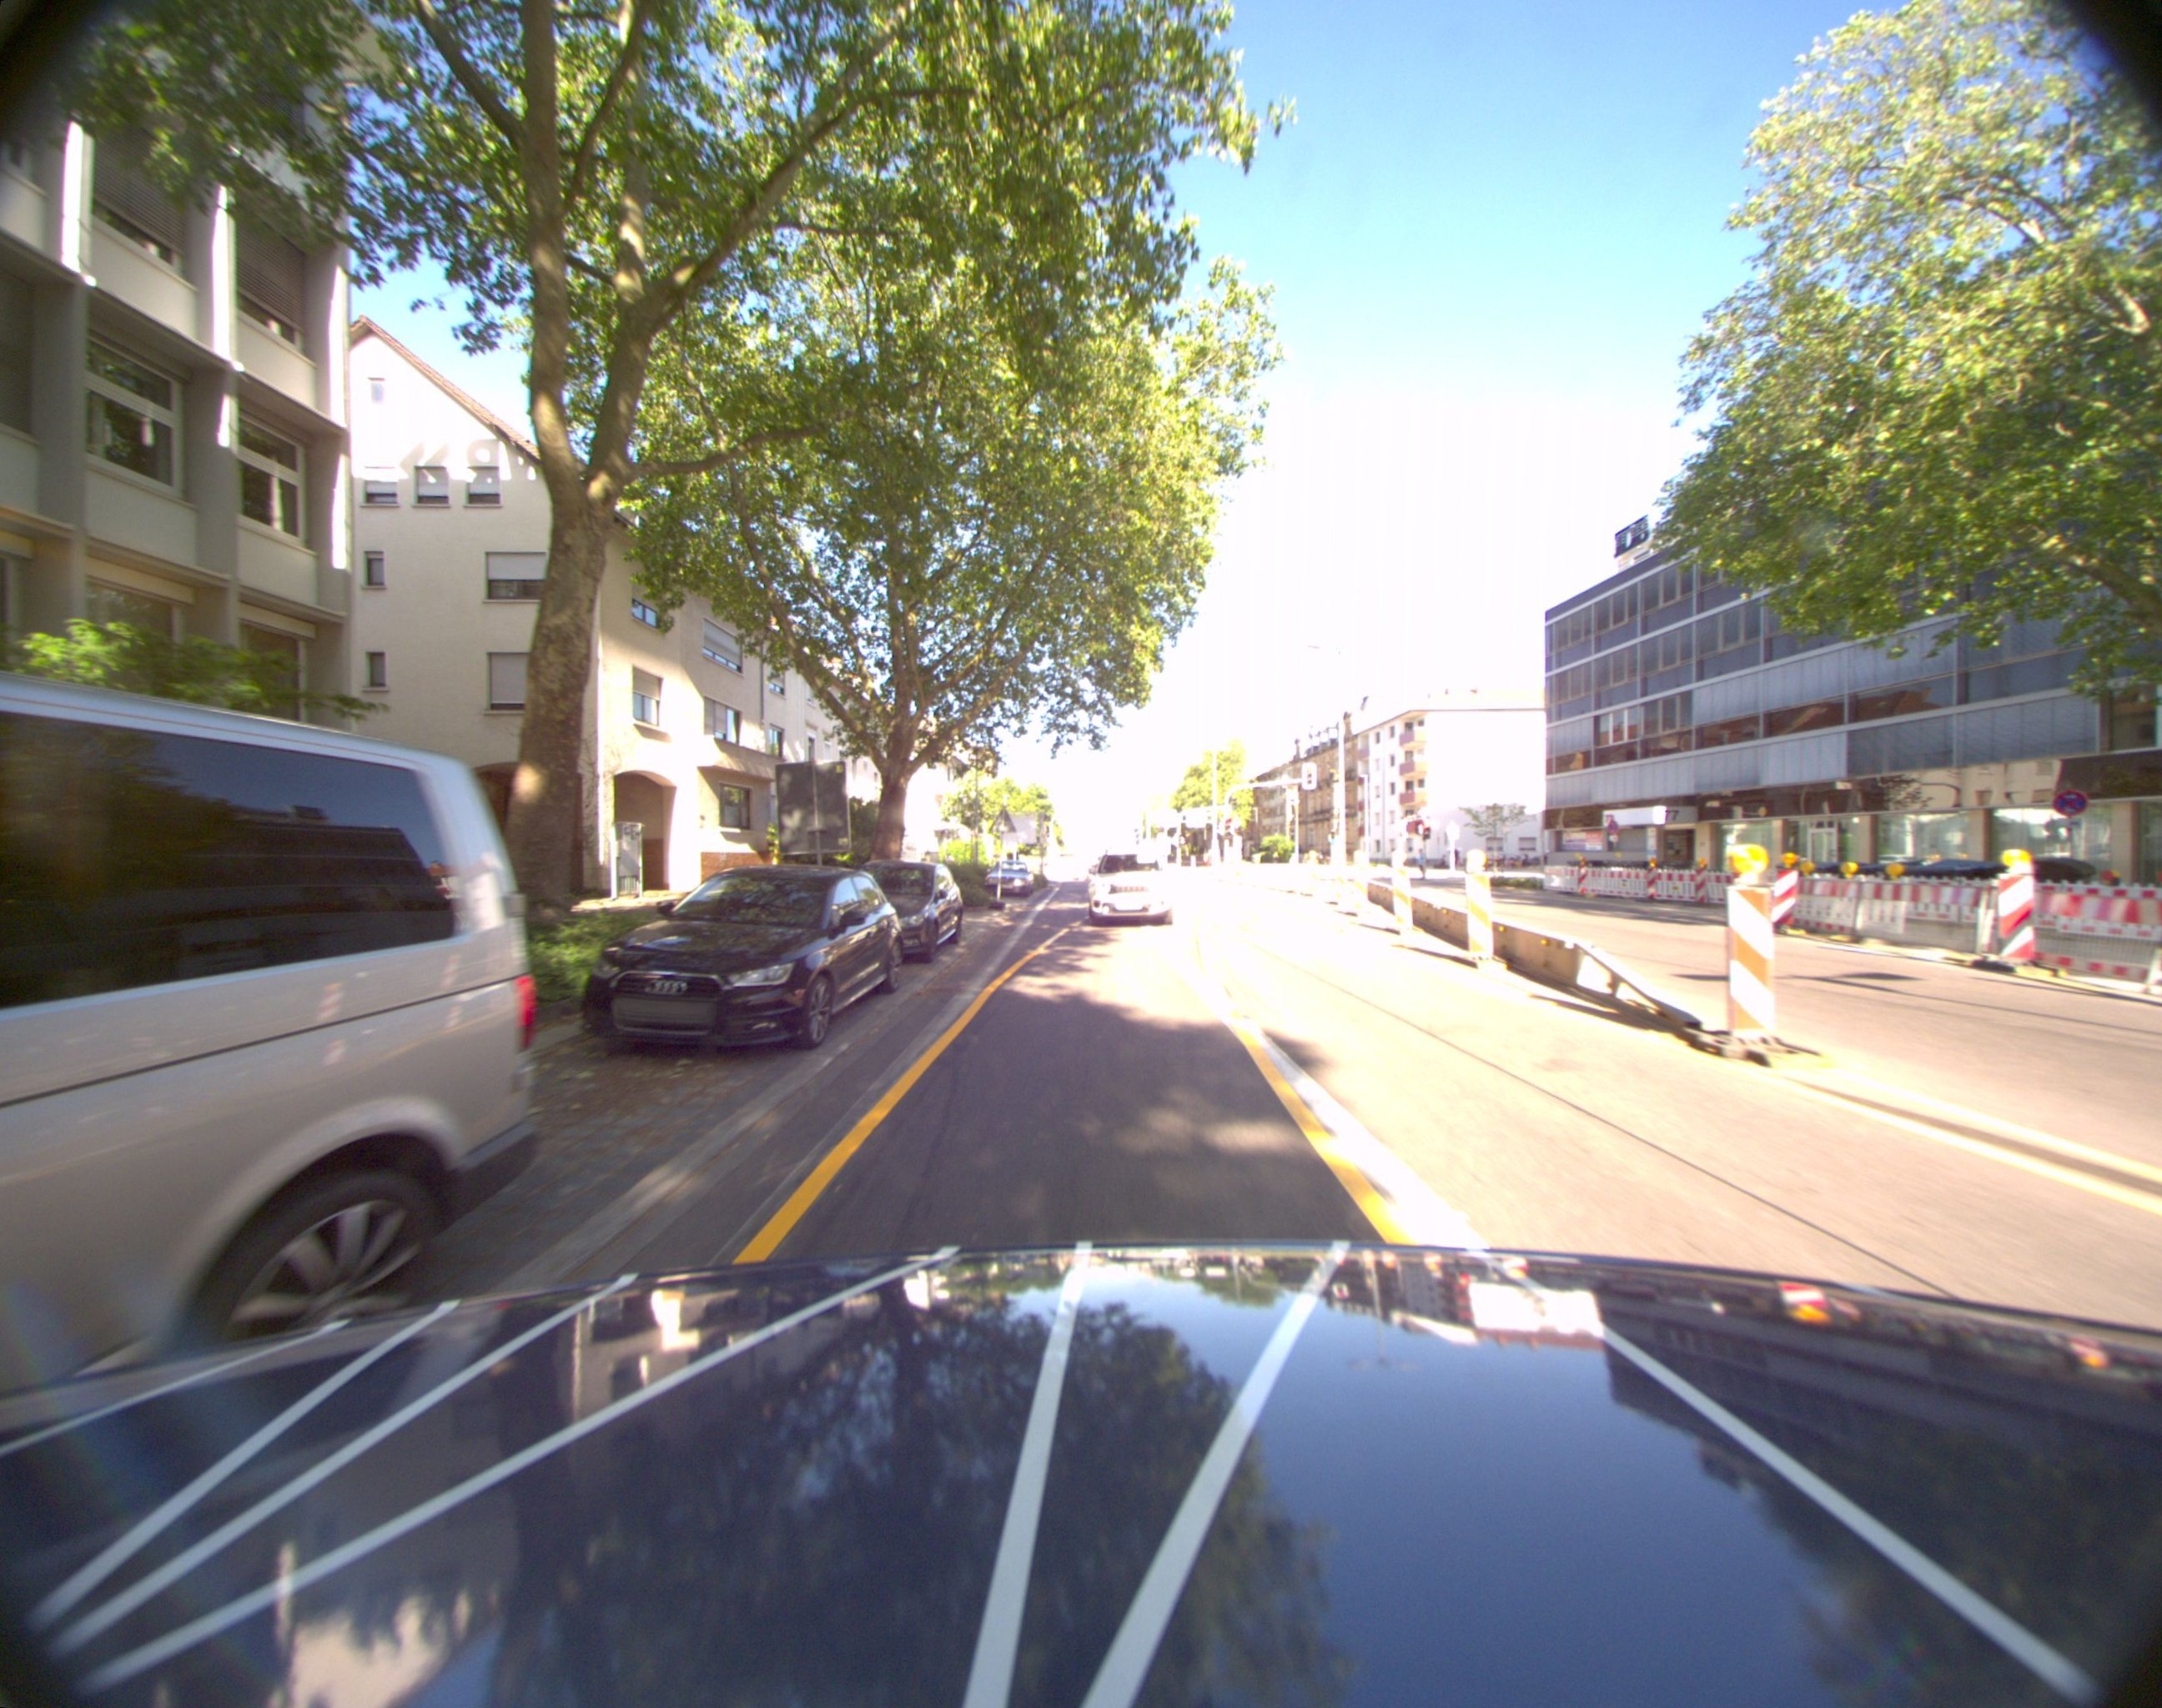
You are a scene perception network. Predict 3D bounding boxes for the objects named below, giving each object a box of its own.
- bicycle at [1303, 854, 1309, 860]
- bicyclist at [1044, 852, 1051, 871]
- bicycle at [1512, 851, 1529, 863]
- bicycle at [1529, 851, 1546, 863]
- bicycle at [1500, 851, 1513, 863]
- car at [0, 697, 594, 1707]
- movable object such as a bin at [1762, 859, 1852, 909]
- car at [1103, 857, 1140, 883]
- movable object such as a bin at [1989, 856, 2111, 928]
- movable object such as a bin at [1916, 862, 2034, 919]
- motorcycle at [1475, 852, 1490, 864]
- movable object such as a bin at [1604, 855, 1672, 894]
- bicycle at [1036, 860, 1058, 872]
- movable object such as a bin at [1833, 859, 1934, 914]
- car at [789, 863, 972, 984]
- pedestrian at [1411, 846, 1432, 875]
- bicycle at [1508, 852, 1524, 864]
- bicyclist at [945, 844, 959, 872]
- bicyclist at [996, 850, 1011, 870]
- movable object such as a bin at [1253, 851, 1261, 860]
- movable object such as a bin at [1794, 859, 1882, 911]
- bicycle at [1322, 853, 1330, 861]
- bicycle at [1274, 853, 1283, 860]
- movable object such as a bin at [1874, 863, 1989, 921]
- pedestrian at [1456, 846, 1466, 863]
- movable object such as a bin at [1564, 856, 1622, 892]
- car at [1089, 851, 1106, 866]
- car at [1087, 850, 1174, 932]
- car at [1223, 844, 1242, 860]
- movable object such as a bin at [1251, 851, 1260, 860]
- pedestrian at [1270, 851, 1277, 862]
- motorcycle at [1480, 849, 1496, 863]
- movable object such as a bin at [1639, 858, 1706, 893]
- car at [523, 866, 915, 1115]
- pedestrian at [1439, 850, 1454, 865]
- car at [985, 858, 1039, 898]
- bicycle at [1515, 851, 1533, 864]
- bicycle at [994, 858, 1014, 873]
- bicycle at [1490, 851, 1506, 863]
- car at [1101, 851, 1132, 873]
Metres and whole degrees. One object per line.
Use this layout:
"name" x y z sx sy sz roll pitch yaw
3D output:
"bicycle" 26.969 0.331 91.023 0.299 0.766 1.414 -1 0 1
"bicyclist" -3.017 0.709 68.306 0.605 1.698 0.858 -1 0 0
"bicycle" 37.380 0.245 64.687 0.575 1.052 1.691 -1 0 5
"bicycle" 37.192 0.255 61.920 0.509 0.997 1.737 -1 0 5
"bicycle" 34.631 0.251 61.884 0.507 0.972 1.887 -1 0 17
"car" -3.017 0.694 0.462 2.031 1.935 5.272 -1 0 0
"movable object such as a bin" 20.394 0.818 21.382 1.413 1.330 1.157 -1 1 2
"car" 2.393 0.910 46.195 1.998 1.426 4.873 -1 1 0
"movable object such as a bin" 20.563 0.759 16.136 1.637 1.414 1.260 -1 1 -25
"movable object such as a bin" 21.071 0.835 17.955 0.982 1.263 1.540 -1 0 0
"motorcycle" 32.987 0.321 62.421 0.504 0.931 1.843 -1 0 7
"movable object such as a bin" 20.767 0.752 28.388 1.217 1.380 1.855 -1 0 2
"bicycle" -3.066 1.059 68.363 1.967 1.019 0.605 -2 0 0
"movable object such as a bin" 20.310 0.800 19.262 1.413 1.330 1.069 -1 1 2
"car" -2.950 0.944 12.145 1.768 1.499 4.250 -1 0 0
"pedestrian" 20.192 0.397 45.120 0.866 1.701 1.013 -1 0 7
"bicycle" 35.195 0.301 61.477 0.478 0.942 1.953 -1 0 9
"bicyclist" -8.738 0.265 51.425 0.725 1.810 1.070 -1 1 1
"bicyclist" -5.892 0.485 57.599 0.724 1.490 0.873 1 -1 30
"movable object such as a bin" 26.190 0.222 112.952 0.895 1.352 1.474 1 -1 1
"movable object such as a bin" 20.199 0.814 20.296 1.413 1.330 0.936 -1 1 2
"bicycle" 26.933 0.329 83.619 0.305 0.952 1.940 -1 0 1
"bicycle" 26.801 0.359 103.209 0.468 0.999 2.250 -2 0 -2
"movable object such as a bin" 20.052 0.872 17.961 0.982 1.263 1.540 -1 0 0
"pedestrian" 33.125 0.037 66.219 0.601 1.488 0.694 -1 1 3
"movable object such as a bin" 20.678 0.777 30.725 1.117 1.380 1.855 -1 0 2
"car" 2.136 0.553 97.794 1.999 1.761 4.000 -2 0 -1
"car" 1.142 0.753 17.367 1.743 1.648 3.691 -1 0 4
"car" 25.158 -0.344 126.204 2.250 2.431 5.288 1 -1 1
"movable object such as a bin" 26.256 0.238 114.344 0.895 1.354 1.314 1 -1 -1
"pedestrian" 26.091 0.343 103.136 0.568 1.370 1.089 1 2 -2
"motorcycle" 34.081 0.186 63.580 0.612 1.135 1.784 -1 0 9
"movable object such as a bin" 20.723 0.740 26.649 1.397 1.196 1.241 -1 1 3
"car" -2.873 0.950 7.154 1.661 1.531 4.128 -2 0 0
"pedestrian" 30.060 0.287 62.478 0.720 1.146 0.788 -1 1 -12
"car" -2.754 0.923 31.371 1.857 1.471 4.941 -1 0 -1
"bicycle" 36.118 0.266 61.919 0.490 1.062 1.737 -1 0 3
"bicycle" -5.827 0.871 57.651 0.689 1.091 1.690 -1 -1 30
"bicycle" 35.501 0.229 64.702 0.575 0.963 1.737 -1 0 5
"car" 2.495 0.539 54.702 1.998 1.426 4.873 -1 1 0
